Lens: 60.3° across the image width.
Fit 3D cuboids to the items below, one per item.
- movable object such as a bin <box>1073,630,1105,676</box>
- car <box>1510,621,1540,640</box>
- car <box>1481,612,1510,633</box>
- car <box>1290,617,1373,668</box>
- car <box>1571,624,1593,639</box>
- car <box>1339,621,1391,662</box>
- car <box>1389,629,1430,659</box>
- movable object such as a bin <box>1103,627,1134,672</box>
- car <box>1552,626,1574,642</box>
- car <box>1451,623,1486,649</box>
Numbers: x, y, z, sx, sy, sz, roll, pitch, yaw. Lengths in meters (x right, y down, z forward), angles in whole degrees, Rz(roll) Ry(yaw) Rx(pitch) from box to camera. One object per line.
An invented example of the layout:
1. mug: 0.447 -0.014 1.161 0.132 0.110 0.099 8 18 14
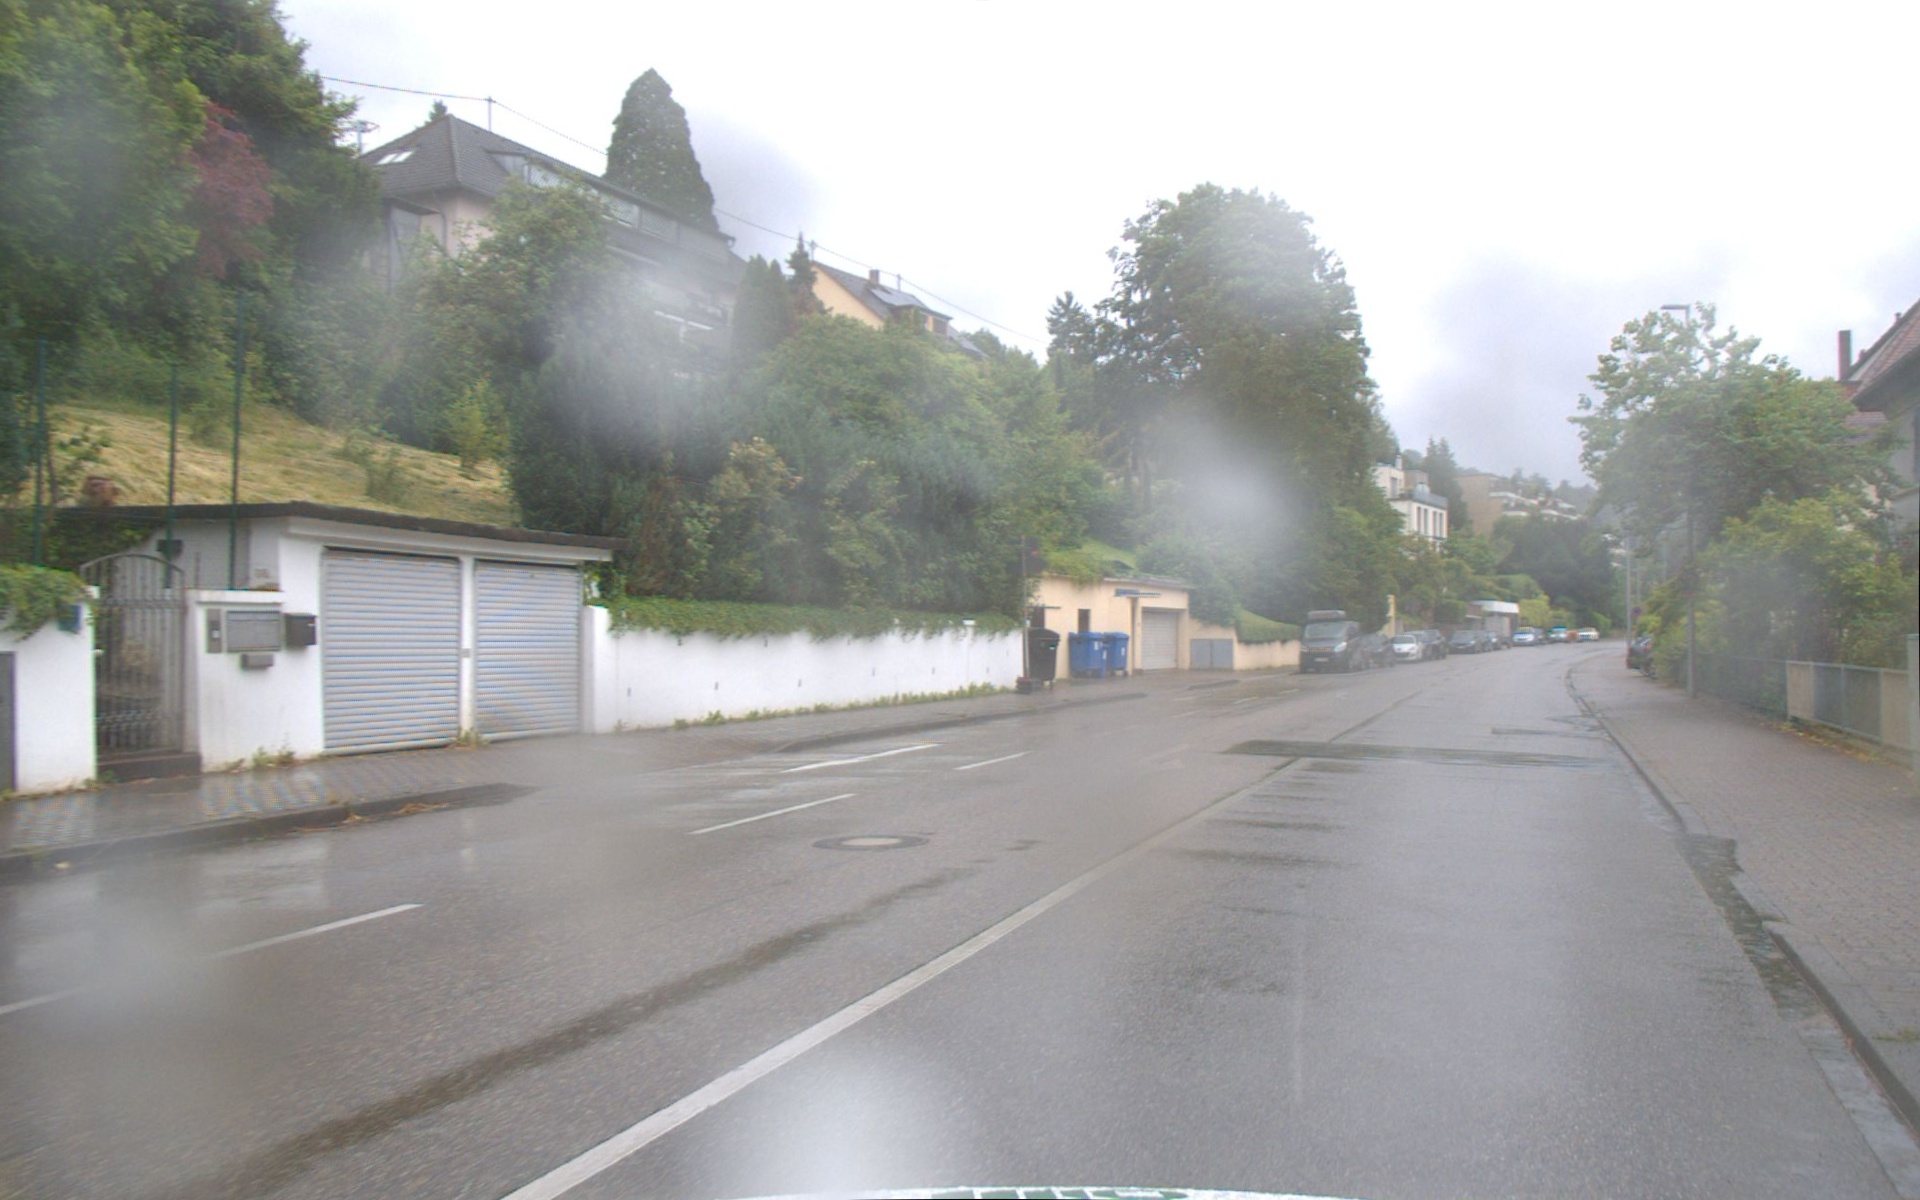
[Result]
1. movable object such as a bin: 3.854 1.578 49.372 0.697 1.359 0.833 -1 0 26
2. car: 47.660 2.546 139.445 1.787 1.482 3.811 -1 0 28
3. car: 41.153 1.710 127.026 1.692 1.482 3.815 -1 0 24
4. car: 14.392 1.604 63.892 2.249 1.783 5.179 -1 0 23
5. car: 66.429 3.341 176.585 1.693 1.482 3.811 -1 0 28
6. car: 18.076 1.811 73.700 1.780 1.711 4.001 -1 0 20
7. car: 22.872 2.220 84.044 1.675 1.368 3.681 -1 0 20
8. movable object such as a bin: 4.931 1.534 51.376 0.697 1.359 0.833 -1 0 26
9. car: 58.252 3.273 159.693 1.721 1.482 3.814 -1 0 25
10. car: 33.670 2.359 109.460 1.680 1.578 3.814 -1 0 25
